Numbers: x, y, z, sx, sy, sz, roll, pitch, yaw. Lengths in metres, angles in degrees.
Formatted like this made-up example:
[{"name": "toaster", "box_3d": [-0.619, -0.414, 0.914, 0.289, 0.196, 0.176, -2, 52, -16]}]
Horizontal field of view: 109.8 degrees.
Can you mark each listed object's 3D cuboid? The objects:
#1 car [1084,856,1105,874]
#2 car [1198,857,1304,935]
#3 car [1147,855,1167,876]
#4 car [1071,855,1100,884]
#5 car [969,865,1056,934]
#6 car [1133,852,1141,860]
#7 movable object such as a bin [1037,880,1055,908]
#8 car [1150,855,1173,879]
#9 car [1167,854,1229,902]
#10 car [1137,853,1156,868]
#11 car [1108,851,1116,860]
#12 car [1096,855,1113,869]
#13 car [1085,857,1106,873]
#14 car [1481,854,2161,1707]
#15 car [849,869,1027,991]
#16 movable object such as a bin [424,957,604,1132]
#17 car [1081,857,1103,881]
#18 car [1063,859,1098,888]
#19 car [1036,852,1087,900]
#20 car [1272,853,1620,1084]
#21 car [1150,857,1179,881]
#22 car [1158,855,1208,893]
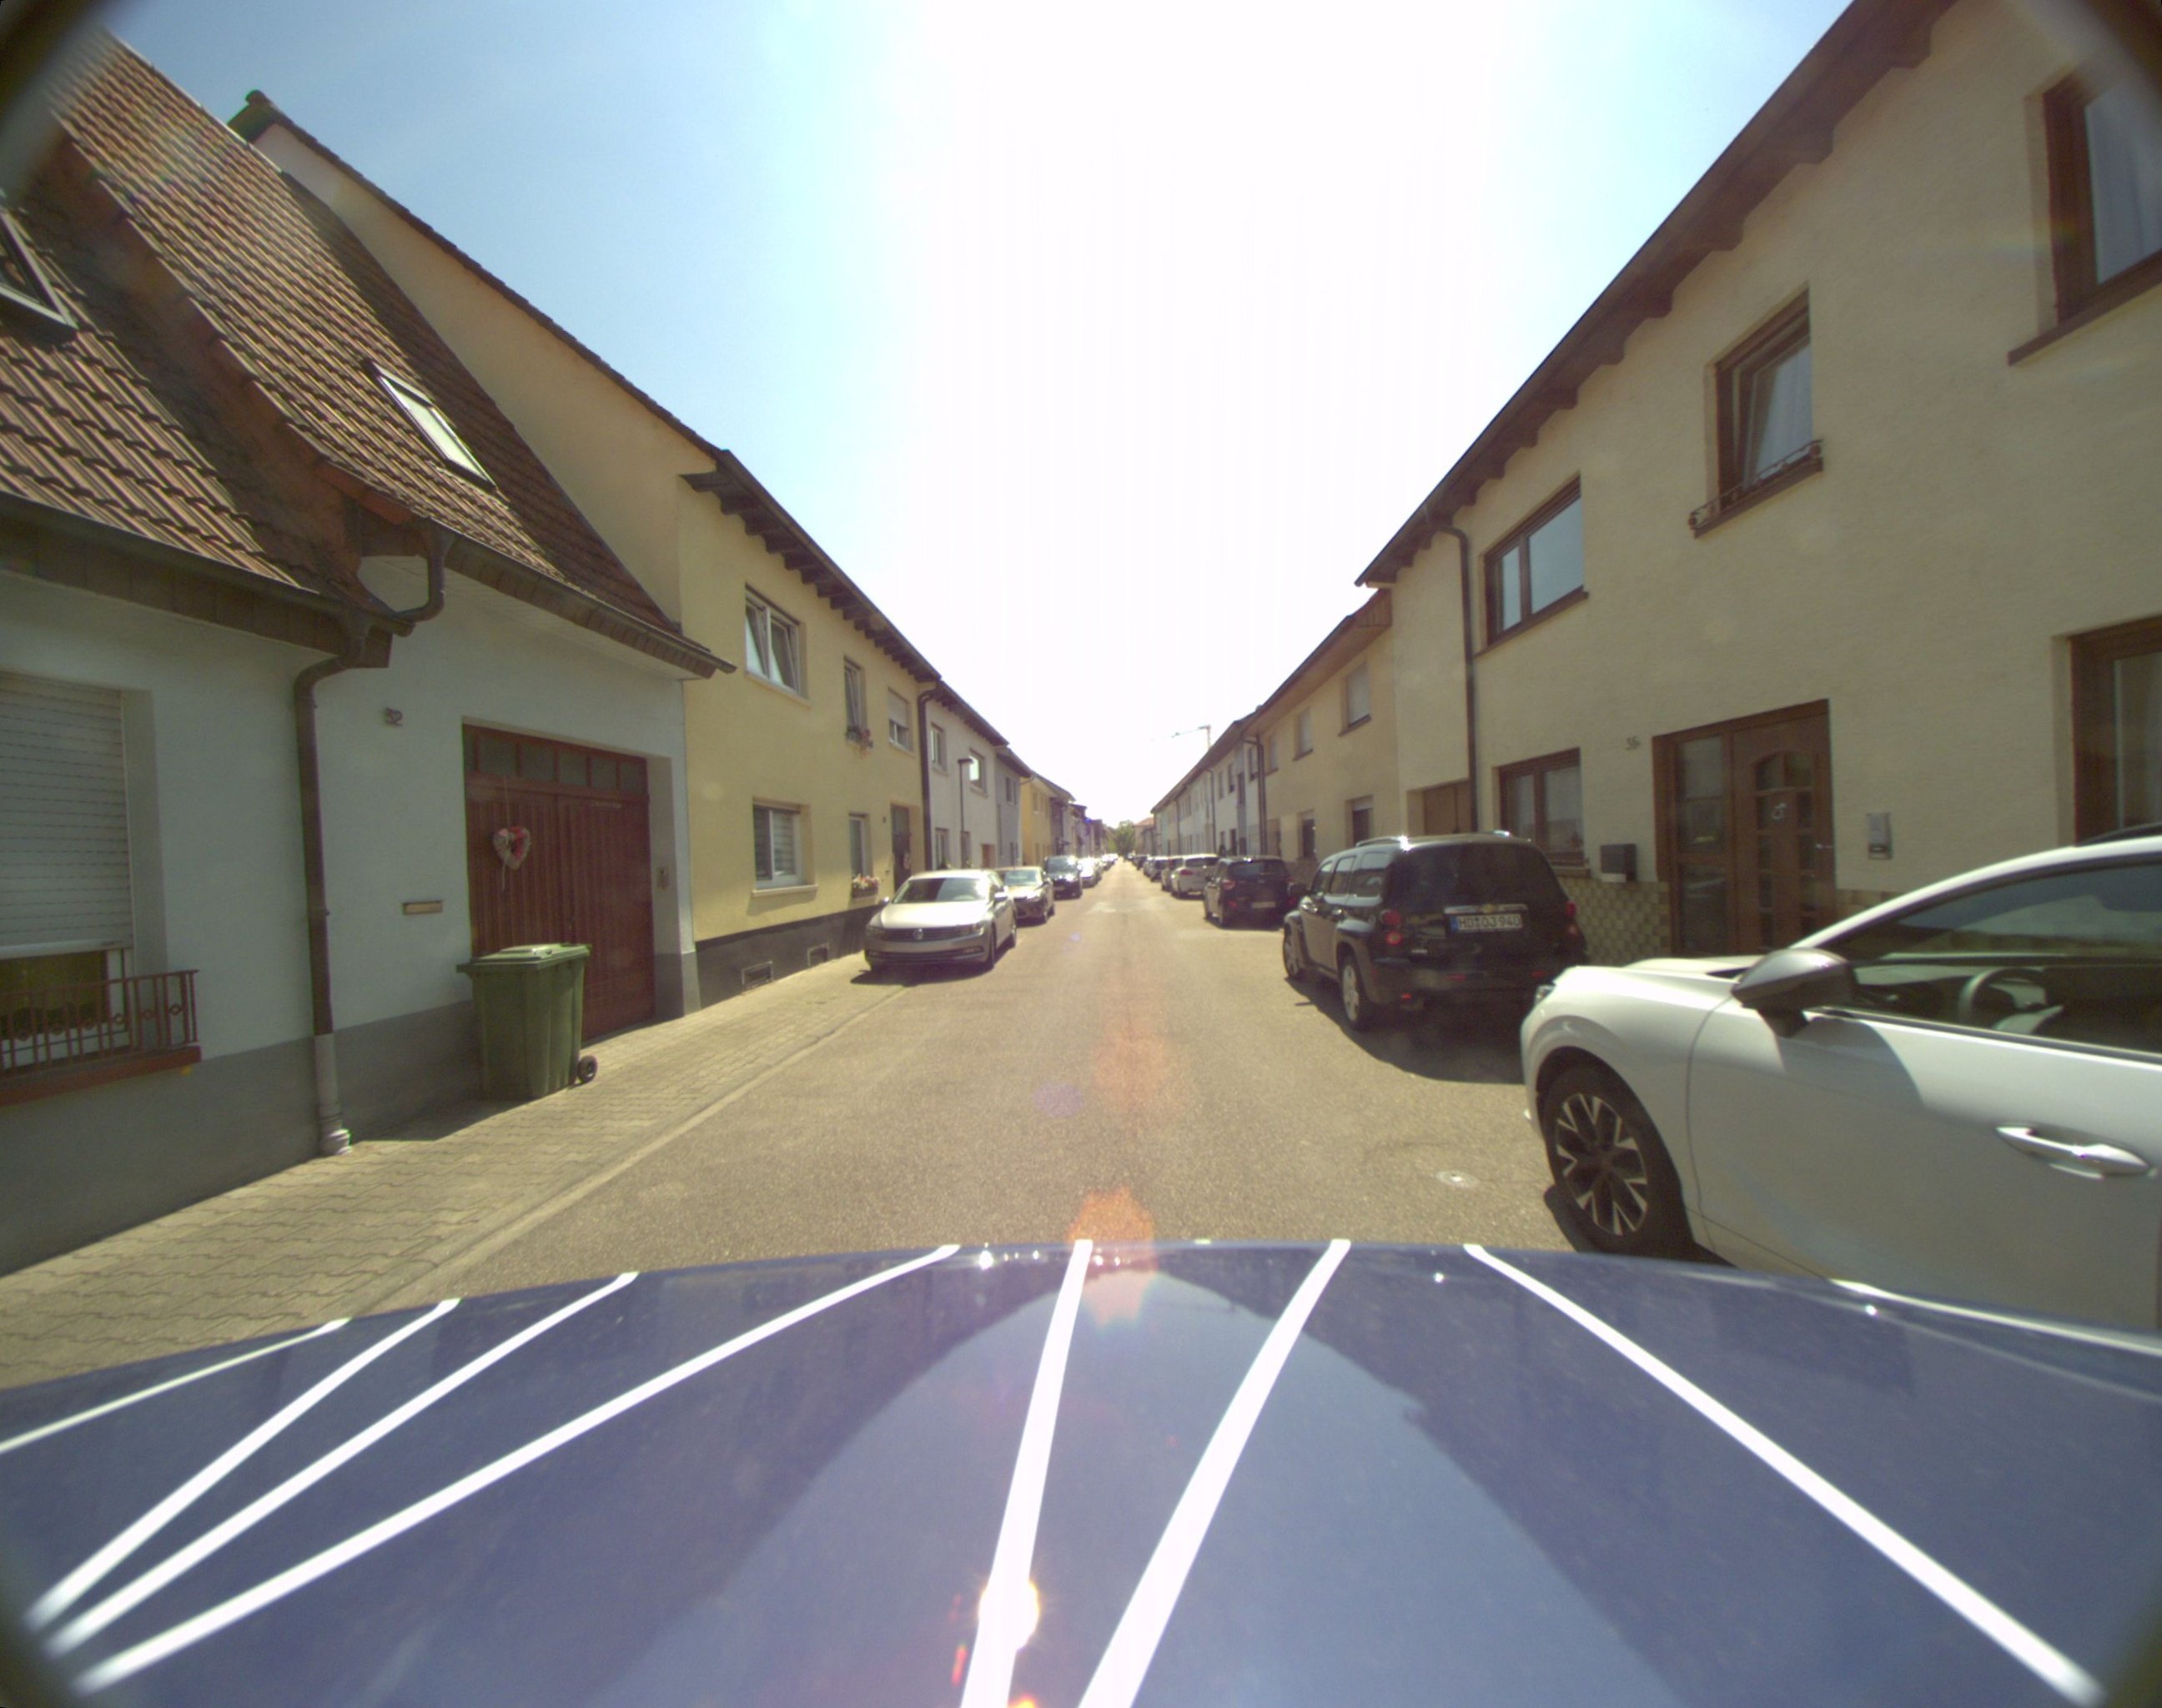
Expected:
[{"name": "car", "box_3d": [1.240, 1.001, 68.804, 1.743, 1.459, 4.046, -3, 0, 2]}, {"name": "car", "box_3d": [3.764, 0.865, 17.406, 1.644, 1.528, 3.942, -1, 0, 2]}, {"name": "car", "box_3d": [5.656, 0.817, 56.666, 1.414, 1.446, 3.463, -1, 0, 4]}, {"name": "car", "box_3d": [0.303, 0.921, 47.155, 1.683, 1.575, 3.962, -3, 0, 1]}, {"name": "car", "box_3d": [-1.660, 1.091, 19.761, 1.701, 1.427, 4.103, -3, 0, 2]}, {"name": "car", "box_3d": [9.689, 0.311, 131.920, 1.414, 1.389, 3.324, -1, 0, 3]}, {"name": "movable object such as a bin", "box_3d": [-1.195, 1.356, 25.929, 0.551, 0.886, 0.579, -2, 1, -3]}, {"name": "car", "box_3d": [5.435, 0.839, 51.471, 1.414, 1.519, 3.026, -1, 0, 4]}, {"name": "car", "box_3d": [4.332, 0.834, 28.631, 1.667, 1.540, 3.942, -4, 1, 0]}, {"name": "car", "box_3d": [7.192, 0.719, 83.664, 1.818, 1.598, 3.888, -1, 0, 3]}, {"name": "car", "box_3d": [5.692, 0.353, 141.155, 1.414, 1.604, 3.324, -1, 0, 3]}, {"name": "car", "box_3d": [2.697, 0.913, 87.188, 1.735, 1.502, 3.624, -3, 0, 3]}, {"name": "car", "box_3d": [1.441, 1.028, 74.322, 1.761, 1.351, 4.046, -3, 0, 3]}, {"name": "car", "box_3d": [2.674, 0.832, 1.254, 1.778, 1.606, 4.349, -1, 0, 1]}, {"name": "car", "box_3d": [-2.103, 1.078, 12.683, 1.843, 1.440, 4.776, -3, 0, 2]}, {"name": "movable object such as a bin", "box_3d": [-4.103, 1.352, 5.564, 0.660, 1.065, 0.813, -2, 0, 1]}, {"name": "car", "box_3d": [0.785, 0.999, 52.755, 1.403, 1.518, 3.398, -3, 0, 2]}, {"name": "car", "box_3d": [0.006, 1.023, 41.832, 1.666, 1.406, 4.249, -1, 0, 3]}, {"name": "car", "box_3d": [-0.738, 0.850, 31.298, 1.700, 1.767, 4.200, -2, 1, 3]}, {"name": "car", "box_3d": [3.083, 0.822, 7.391, 1.726, 1.606, 3.990, -1, 0, 5]}, {"name": "car", "box_3d": [5.097, 0.892, 46.640, 1.606, 1.434, 3.215, -1, 0, 4]}, {"name": "car", "box_3d": [4.515, 0.847, 33.976, 1.667, 1.532, 3.688, -3, 0, 0]}]
